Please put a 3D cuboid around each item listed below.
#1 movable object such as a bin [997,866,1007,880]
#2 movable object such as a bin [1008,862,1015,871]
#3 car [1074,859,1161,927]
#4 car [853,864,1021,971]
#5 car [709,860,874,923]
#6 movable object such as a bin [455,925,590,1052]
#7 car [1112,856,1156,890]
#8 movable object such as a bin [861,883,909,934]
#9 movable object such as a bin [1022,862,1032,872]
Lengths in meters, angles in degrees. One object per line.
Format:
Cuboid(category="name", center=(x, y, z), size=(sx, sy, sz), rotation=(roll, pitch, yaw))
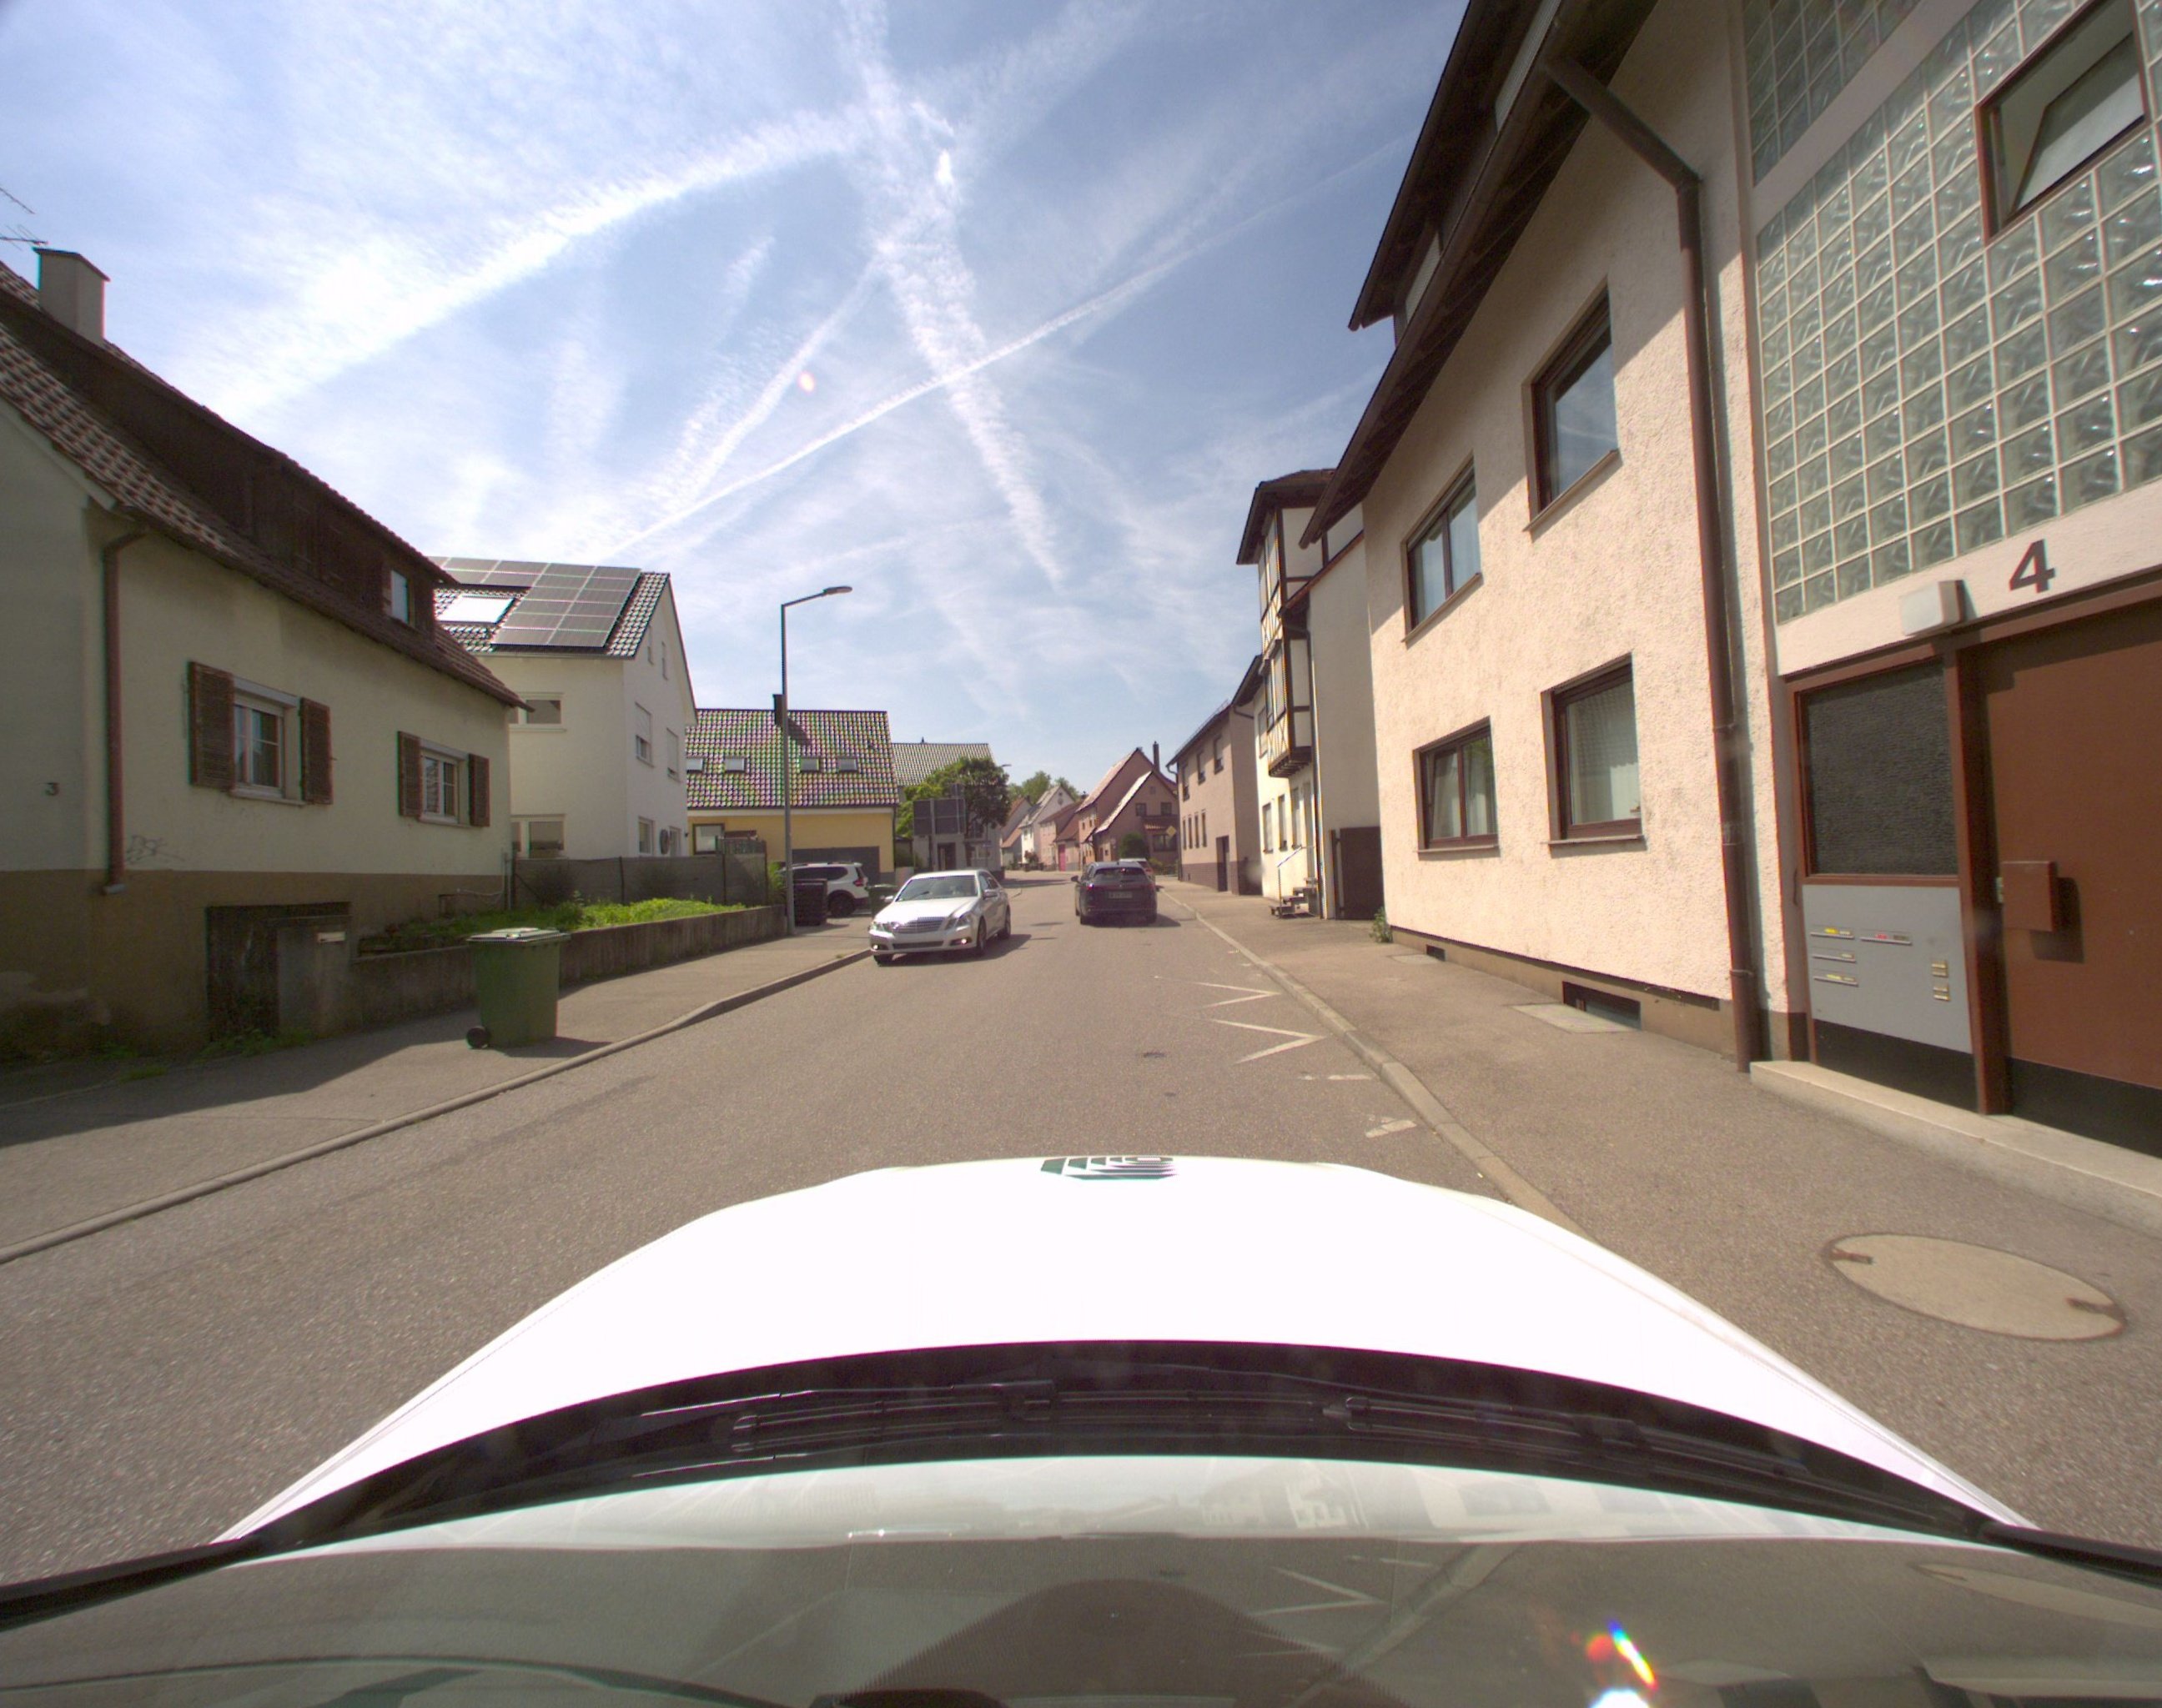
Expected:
Cuboid(category="movable object such as a bin", center=(-6.286, 1.499, 64.725), size=(0.754, 1.060, 0.677), rotation=(-2, 0, -10))
Cuboid(category="movable object such as a bin", center=(-9.058, 1.627, 106.599), size=(0.680, 1.155, 0.814), rotation=(-2, -1, -21))
Cuboid(category="car", center=(0.779, 0.859, 20.105), size=(1.836, 1.420, 4.680), rotation=(-2, 0, -1))
Cuboid(category="car", center=(-2.437, 1.032, 15.026), size=(1.947, 1.486, 4.463), rotation=(-4, 0, 3))
Cuboid(category="car", center=(-8.687, 1.105, 24.847), size=(4.402, 1.622, 1.993), rotation=(-2, -1, -11))
Cuboid(category="movable object such as a bin", center=(-5.298, 1.257, 7.764), size=(0.789, 1.057, 0.650), rotation=(-3, 0, -1))
Cuboid(category="car", center=(2.403, 0.830, 37.702), size=(1.779, 1.442, 4.337), rotation=(-2, 0, 1))
Cuboid(category="movable object such as a bin", center=(-4.471, 1.235, 18.611), size=(0.822, 1.077, 0.819), rotation=(-2, 0, 3))
Cuboid(category="movable object such as a bin", center=(-6.440, 1.566, 97.660), size=(0.879, 1.074, 0.866), rotation=(-7, 1, -21))
